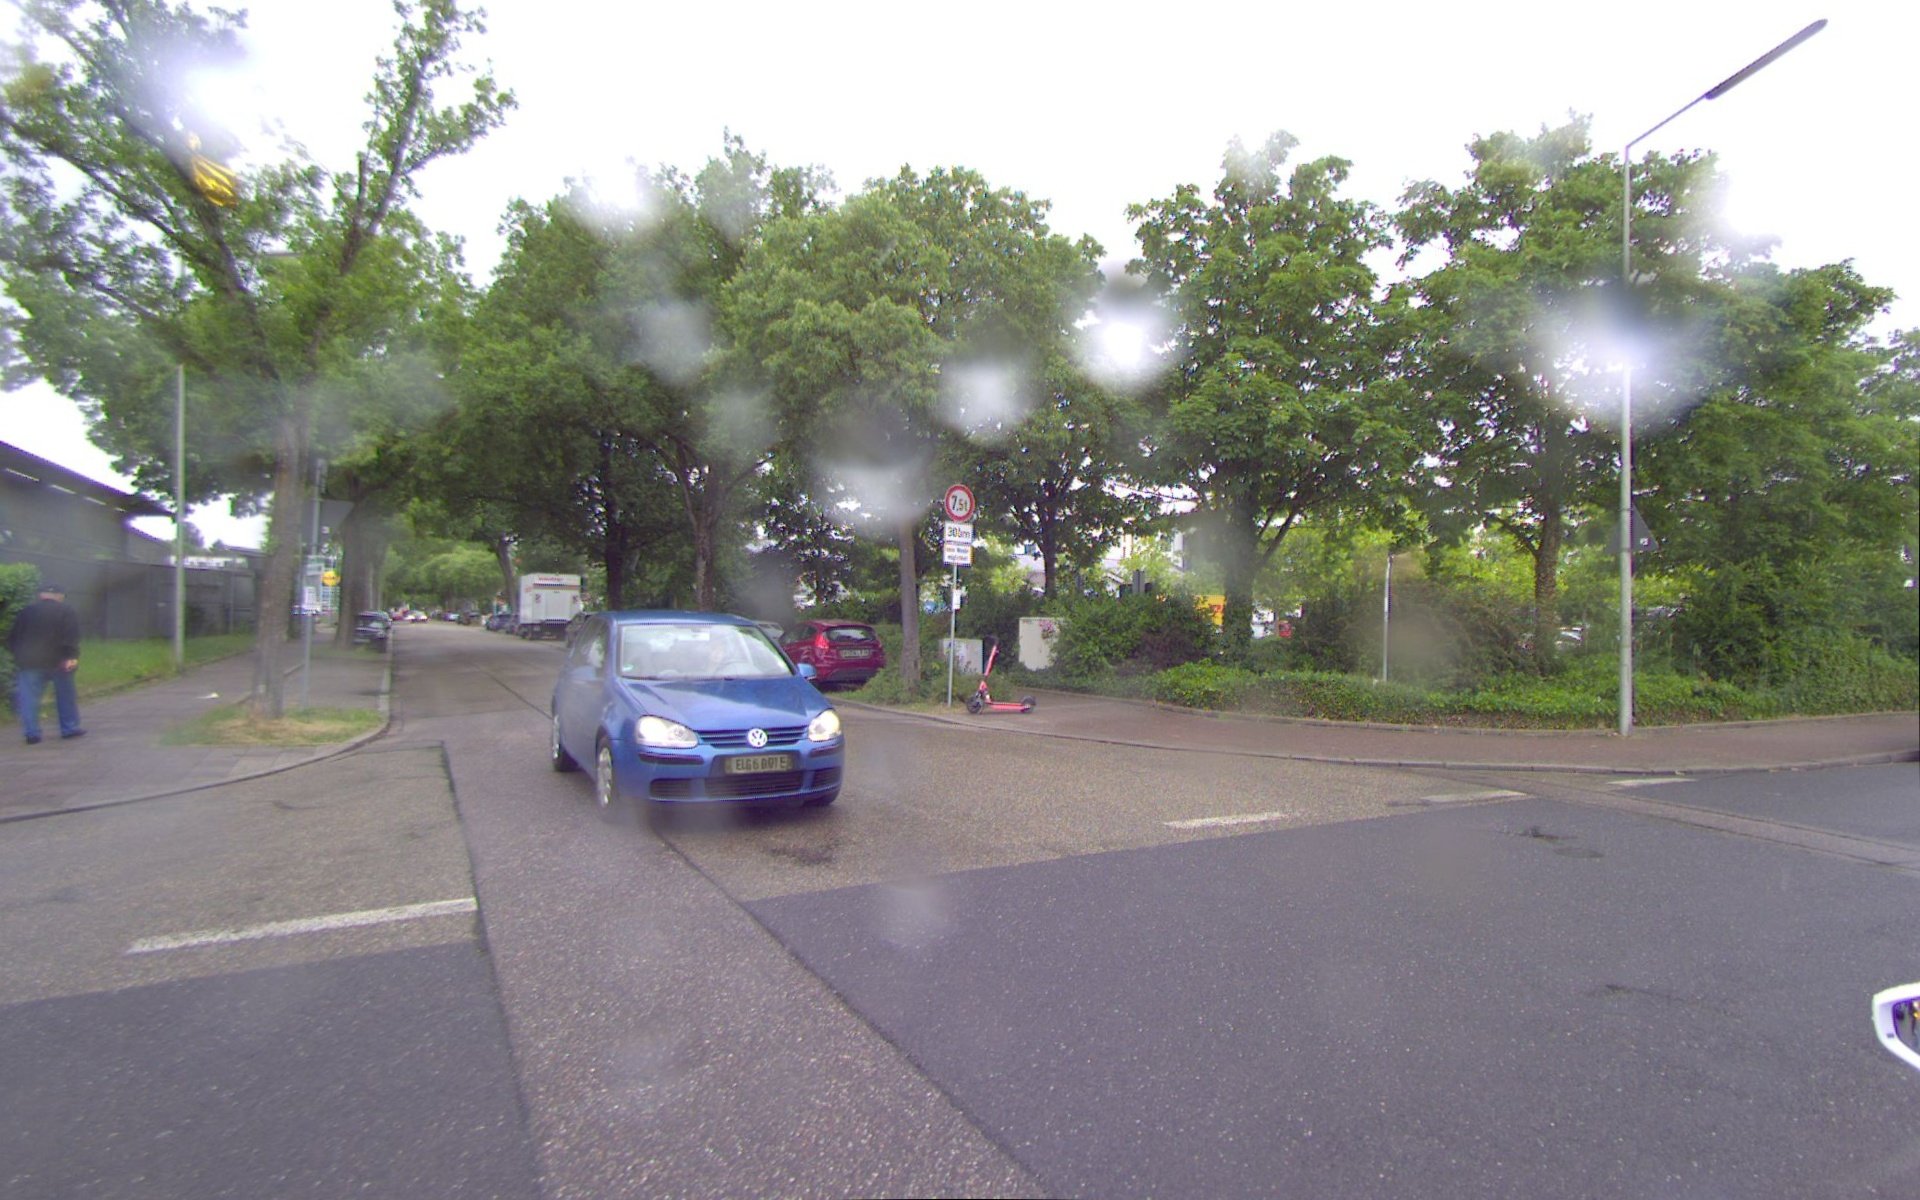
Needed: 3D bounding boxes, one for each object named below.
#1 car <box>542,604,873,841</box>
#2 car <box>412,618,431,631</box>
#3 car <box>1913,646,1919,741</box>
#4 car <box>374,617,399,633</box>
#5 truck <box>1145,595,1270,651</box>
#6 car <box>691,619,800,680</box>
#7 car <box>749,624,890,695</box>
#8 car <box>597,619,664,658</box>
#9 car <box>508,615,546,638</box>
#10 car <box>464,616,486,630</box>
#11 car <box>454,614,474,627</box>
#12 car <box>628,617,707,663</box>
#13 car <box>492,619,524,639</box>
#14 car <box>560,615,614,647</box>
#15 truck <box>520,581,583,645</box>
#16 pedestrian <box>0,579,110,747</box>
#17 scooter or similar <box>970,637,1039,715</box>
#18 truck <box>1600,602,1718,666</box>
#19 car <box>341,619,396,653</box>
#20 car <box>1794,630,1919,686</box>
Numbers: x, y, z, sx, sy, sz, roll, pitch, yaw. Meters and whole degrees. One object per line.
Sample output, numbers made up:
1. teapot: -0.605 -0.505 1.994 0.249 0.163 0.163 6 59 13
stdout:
1. car: -2.314 0.817 8.360 1.715 1.460 3.970 1 -2 -29
2. car: -67.186 3.033 125.238 1.904 1.593 3.966 2 -2 -31
3. car: 15.330 1.391 13.901 4.692 1.548 1.801 2 -5 -30
4. car: -47.448 2.055 83.122 1.550 1.218 3.972 2 -1 -27
5. truck: 12.276 1.181 49.680 6.315 2.636 1.986 1 -1 -28
6. car: -5.654 1.254 26.173 1.715 1.460 3.970 1 -2 -29
7. car: -3.111 1.219 21.616 1.715 1.381 3.970 1 -2 -29
8. car: -12.687 1.457 38.525 1.715 1.401 4.066 1 -2 -29
9. car: -30.228 1.835 70.123 1.904 1.593 3.966 2 -2 -31
10. car: -55.099 2.621 114.127 1.904 1.593 3.966 2 -2 -31
11. car: -62.119 2.537 125.890 1.904 1.593 3.966 2 -2 -31
12. car: -9.872 1.323 33.718 1.715 1.460 3.970 1 -2 -29
13. car: -36.907 2.342 81.895 1.904 1.593 3.966 2 -2 -31
14. car: -17.152 1.426 46.072 1.715 1.401 4.066 1 -2 -29
15. truck: -24.155 0.801 59.183 2.572 3.515 6.762 2 -1 -29
16. pedestrian: -9.613 0.649 10.658 0.750 1.696 0.776 1 -1 -32
17. scooter or similar: 0.692 1.173 15.582 1.044 1.191 0.283 1 -1 -22
18. truck: 32.244 1.570 46.272 6.392 2.789 1.984 2 -1 -30
19. car: -22.889 1.384 38.953 1.550 1.218 3.972 2 -1 -27
20. car: 27.535 1.703 29.649 1.693 1.479 4.169 2 0 -31
